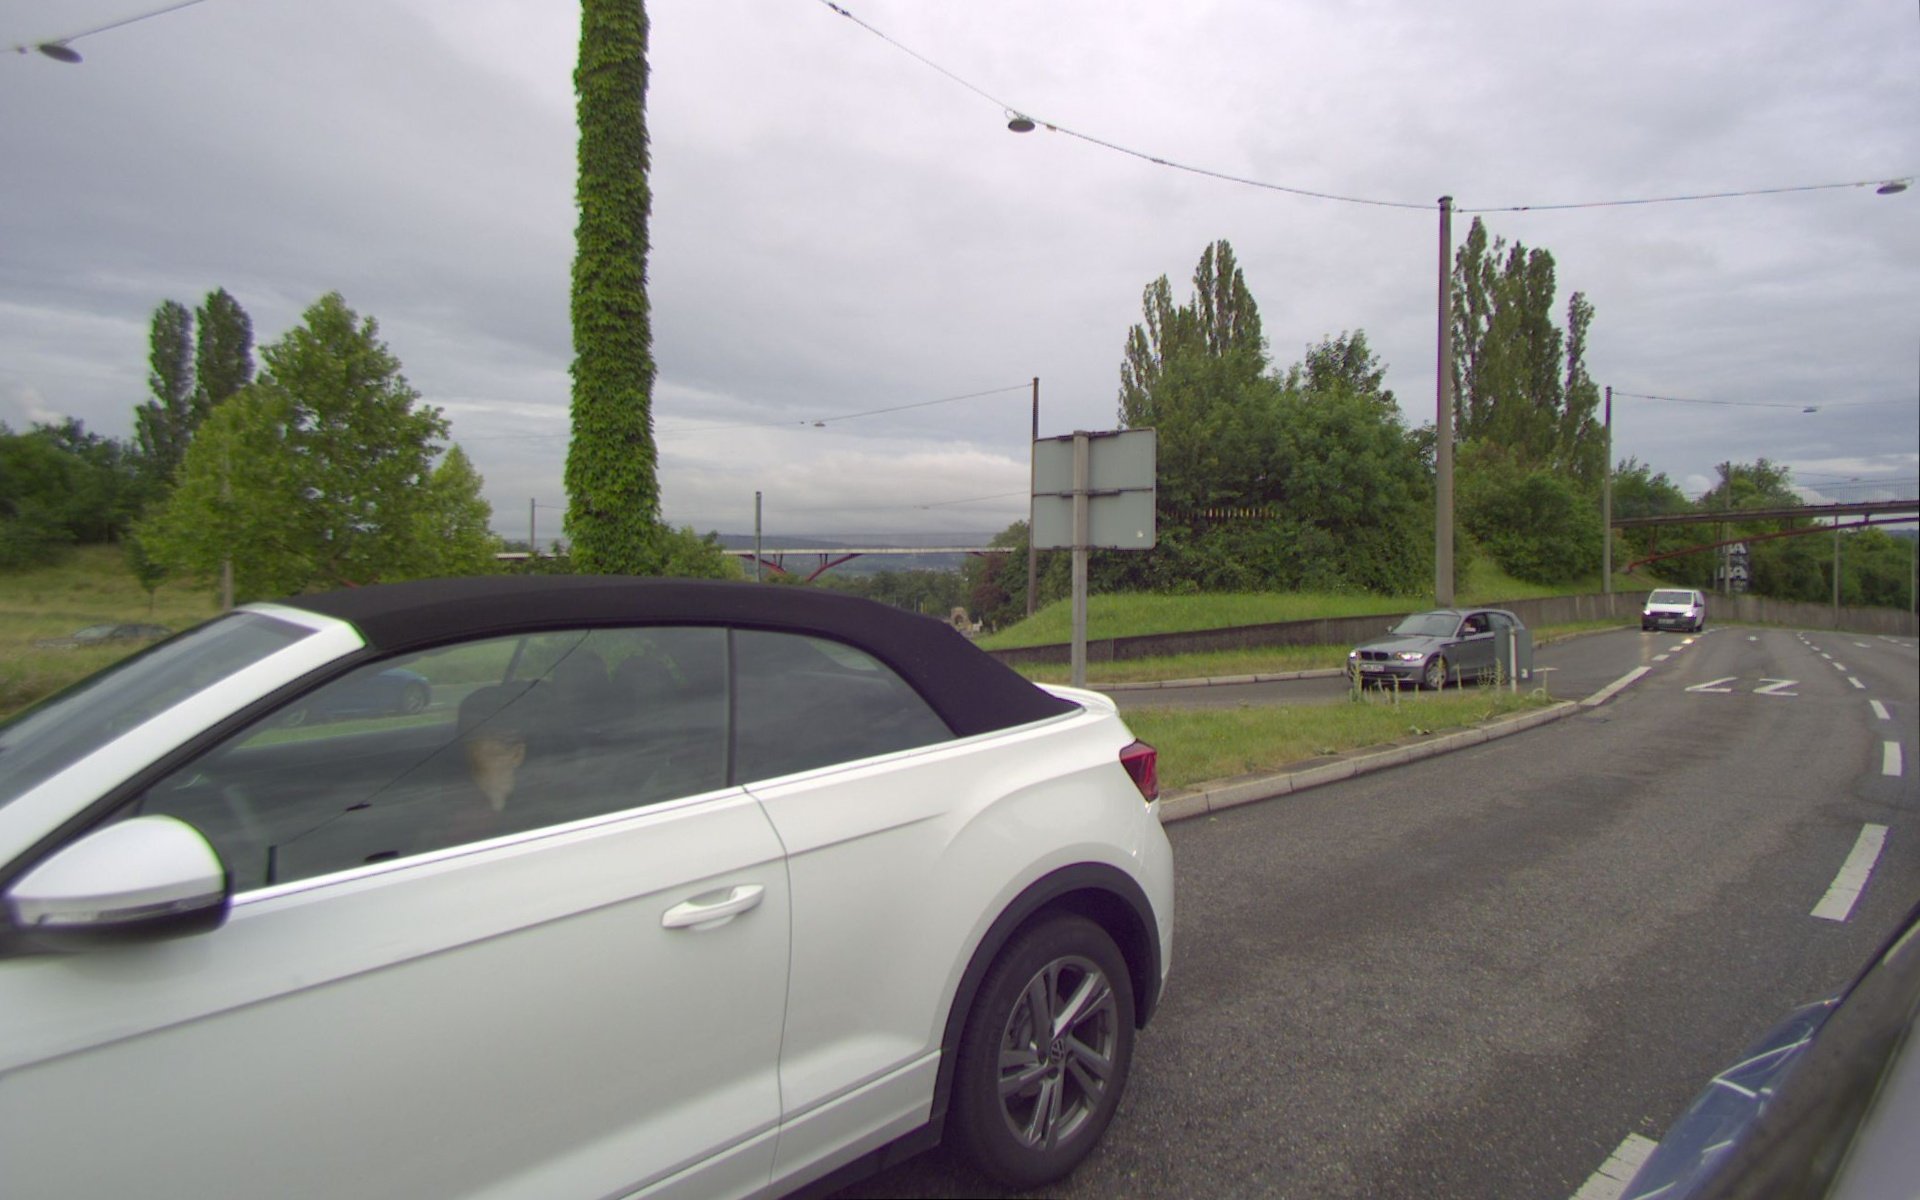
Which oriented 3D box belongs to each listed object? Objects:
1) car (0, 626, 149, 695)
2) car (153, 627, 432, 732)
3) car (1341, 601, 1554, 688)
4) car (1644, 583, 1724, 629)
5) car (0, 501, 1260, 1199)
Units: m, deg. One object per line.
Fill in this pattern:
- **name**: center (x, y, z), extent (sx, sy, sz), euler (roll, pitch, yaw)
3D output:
- **car**: center (-30.077, 1.962, 34.103), extent (1.968, 2.039, 3.989), euler (0, 1, 10)
- **car**: center (-11.835, 1.321, 18.339), extent (1.674, 1.494, 4.276), euler (0, 1, 12)
- **car**: center (9.259, 0.772, 19.144), extent (4.001, 1.438, 1.687), euler (-1, 0, -31)
- **car**: center (31.989, 0.203, 44.640), extent (4.744, 1.871, 1.996), euler (-1, 3, -44)
- **car**: center (-1.151, 0.657, 2.325), extent (4.159, 1.572, 1.714), euler (-1, 1, -44)
